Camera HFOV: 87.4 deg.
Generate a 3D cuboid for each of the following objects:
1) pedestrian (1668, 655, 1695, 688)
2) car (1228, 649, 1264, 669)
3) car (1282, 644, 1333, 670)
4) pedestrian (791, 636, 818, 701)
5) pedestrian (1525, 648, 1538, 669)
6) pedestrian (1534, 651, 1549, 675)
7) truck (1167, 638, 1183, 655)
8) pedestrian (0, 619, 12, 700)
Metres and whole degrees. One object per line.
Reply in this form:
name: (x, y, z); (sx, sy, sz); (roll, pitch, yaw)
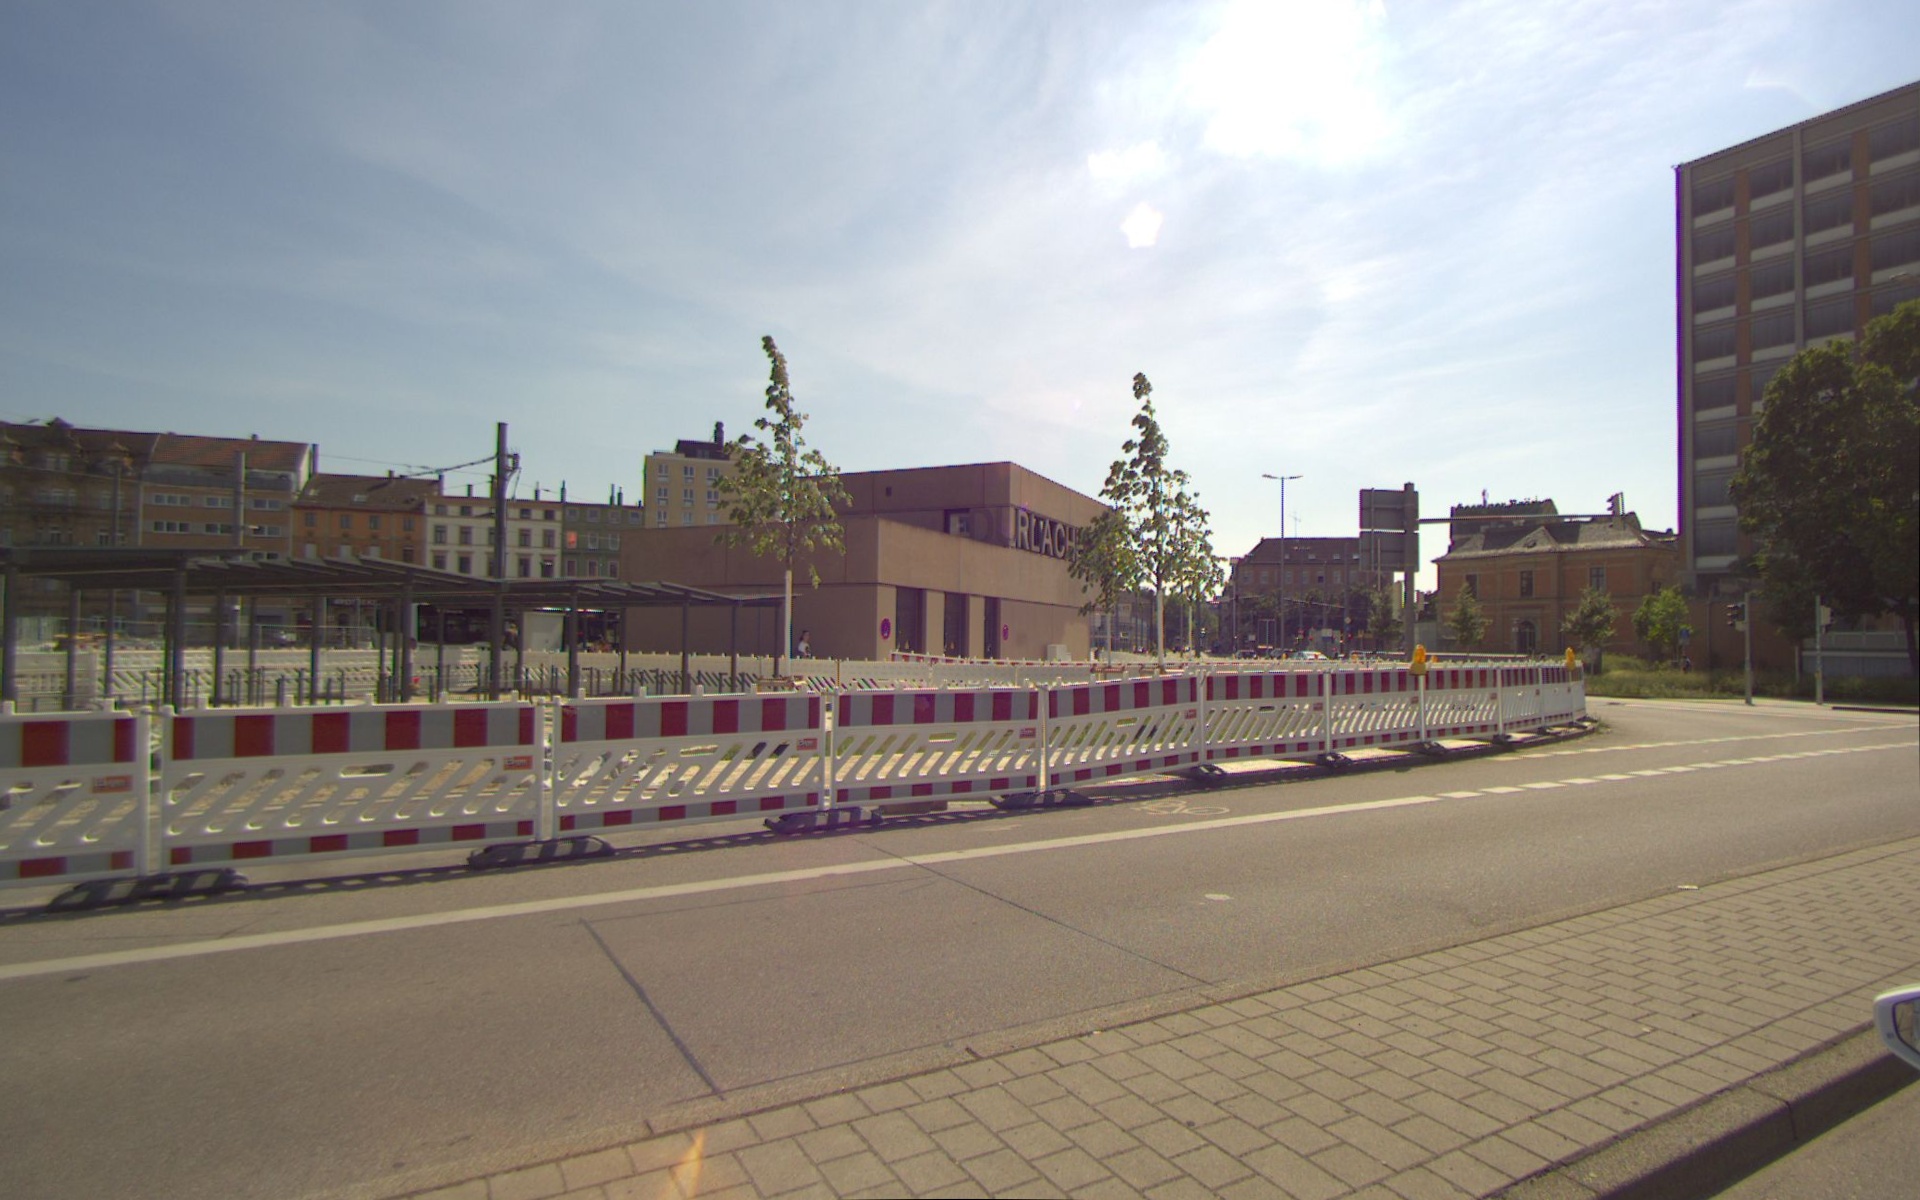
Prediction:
pedestrian: (38.877, 3.828, 54.153); (0.857, 1.748, 0.799); (1, -2, -7)
car: (22.604, 4.624, 79.474); (1.764, 1.530, 4.002); (1, -3, 1)
car: (24.895, 4.062, 72.084); (1.963, 1.839, 3.996); (1, -3, -7)
pedestrian: (-3.864, 1.687, 24.990); (0.415, 1.585, 0.558); (0, -2, 22)
pedestrian: (45.932, 4.683, 80.744); (0.641, 1.683, 0.647); (2, -3, -22)
pedestrian: (42.431, 4.615, 73.339); (0.637, 1.683, 0.650); (2, 0, -3)
truck: (47.675, 10.332, 222.608); (3.011, 3.779, 7.937); (1, -3, 10)
pedestrian: (-24.571, 1.501, 25.398); (0.807, 2.040, 0.684); (-1, -3, 35)
